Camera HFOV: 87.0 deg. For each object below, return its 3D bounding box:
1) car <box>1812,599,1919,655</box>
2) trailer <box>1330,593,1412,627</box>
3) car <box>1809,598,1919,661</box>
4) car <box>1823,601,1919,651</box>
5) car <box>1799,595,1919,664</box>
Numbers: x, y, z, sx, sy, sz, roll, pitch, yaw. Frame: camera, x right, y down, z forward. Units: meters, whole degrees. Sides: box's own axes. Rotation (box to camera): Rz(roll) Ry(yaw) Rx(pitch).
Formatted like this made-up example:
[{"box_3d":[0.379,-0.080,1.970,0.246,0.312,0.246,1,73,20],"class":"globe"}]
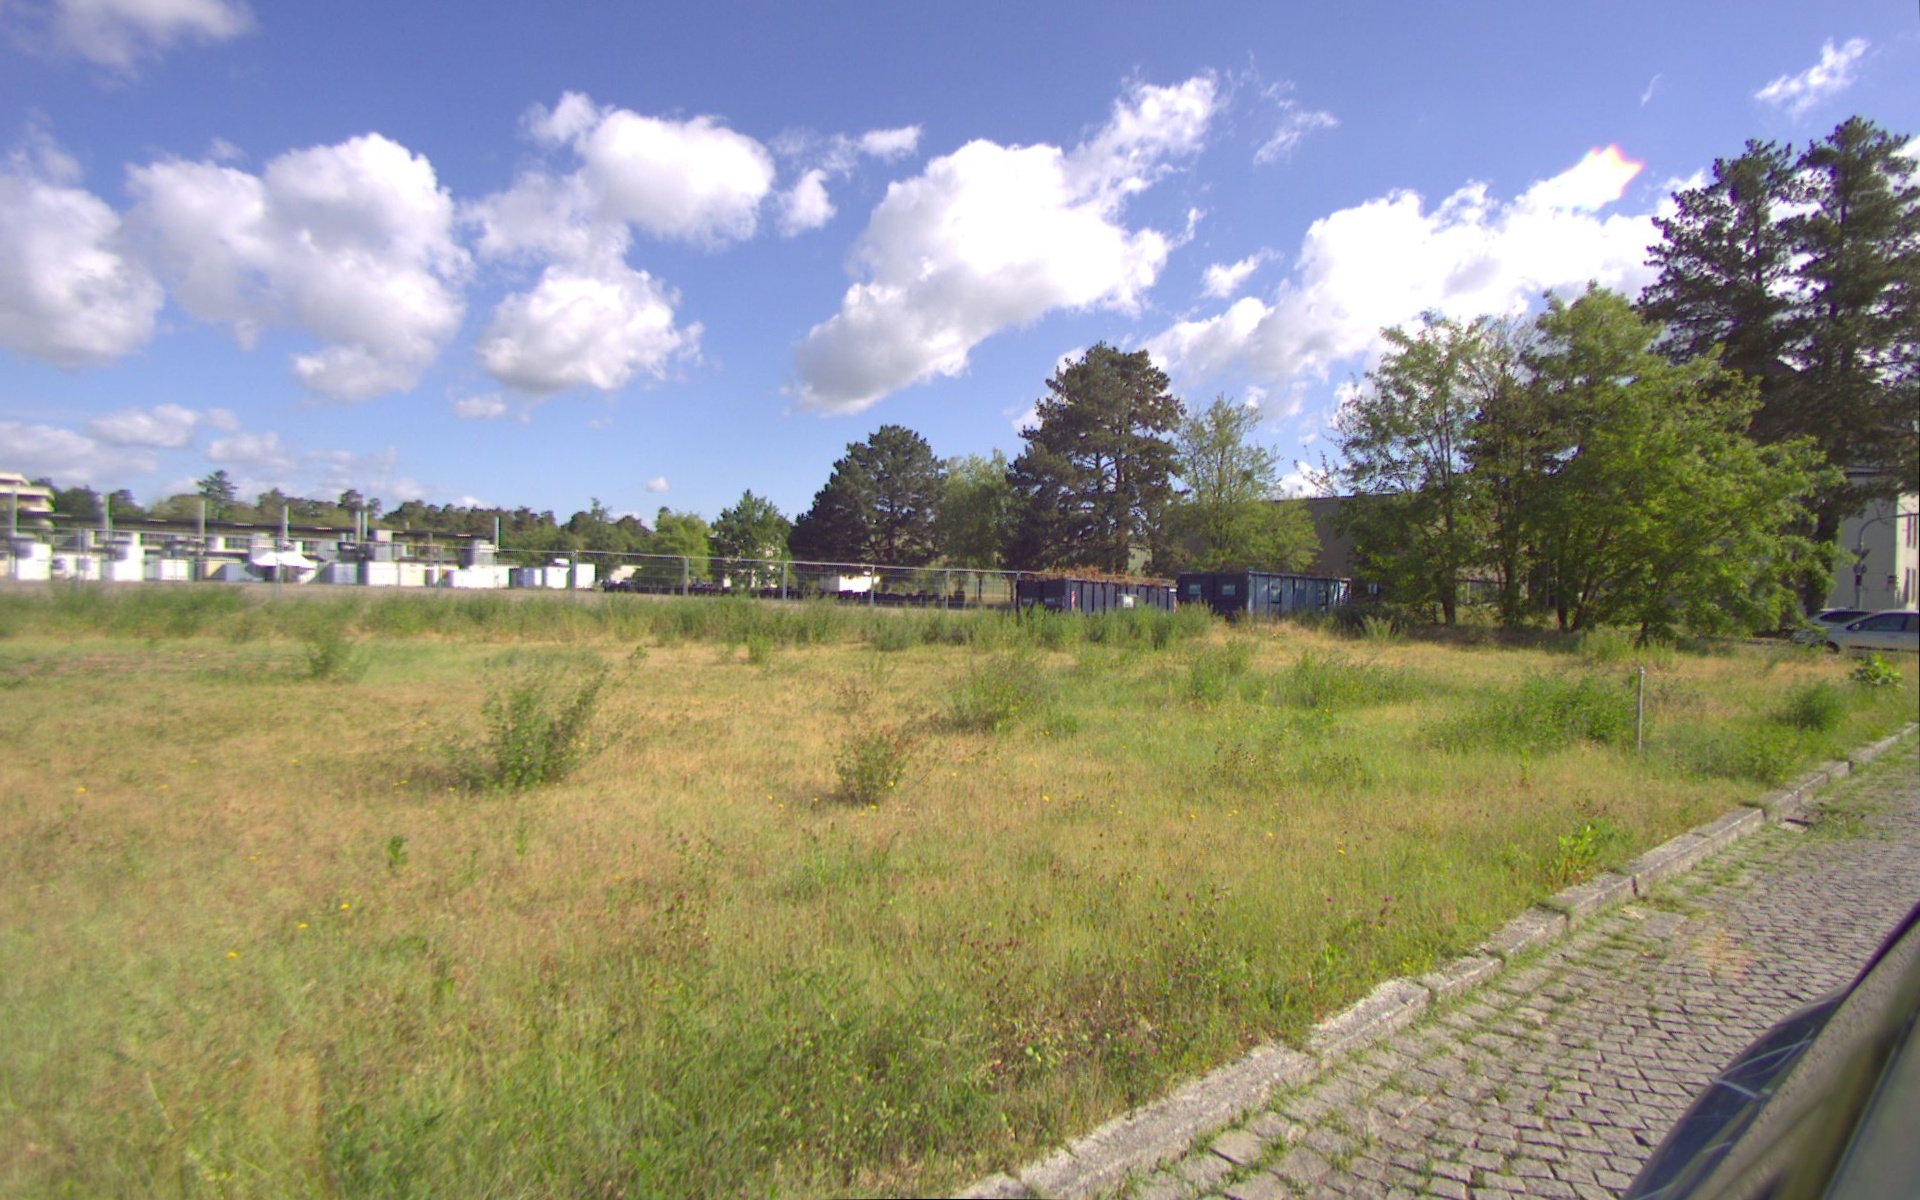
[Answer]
[{"box_3d":[28.867,0.864,30.594,1.808,1.482,4.520,0,3,-43],"class":"car"},{"box_3d":[13.978,0.329,34.476,1.019,1.119,2.401,1,0,-43],"class":"trailer"},{"box_3d":[25.322,0.828,26.833,1.812,1.458,4.013,1,3,-42],"class":"car"},{"box_3d":[30.881,0.881,32.495,1.861,1.438,4.547,0,3,-41],"class":"car"},{"box_3d":[23.331,0.760,24.999,1.722,1.494,3.748,0,4,-42],"class":"car"}]
